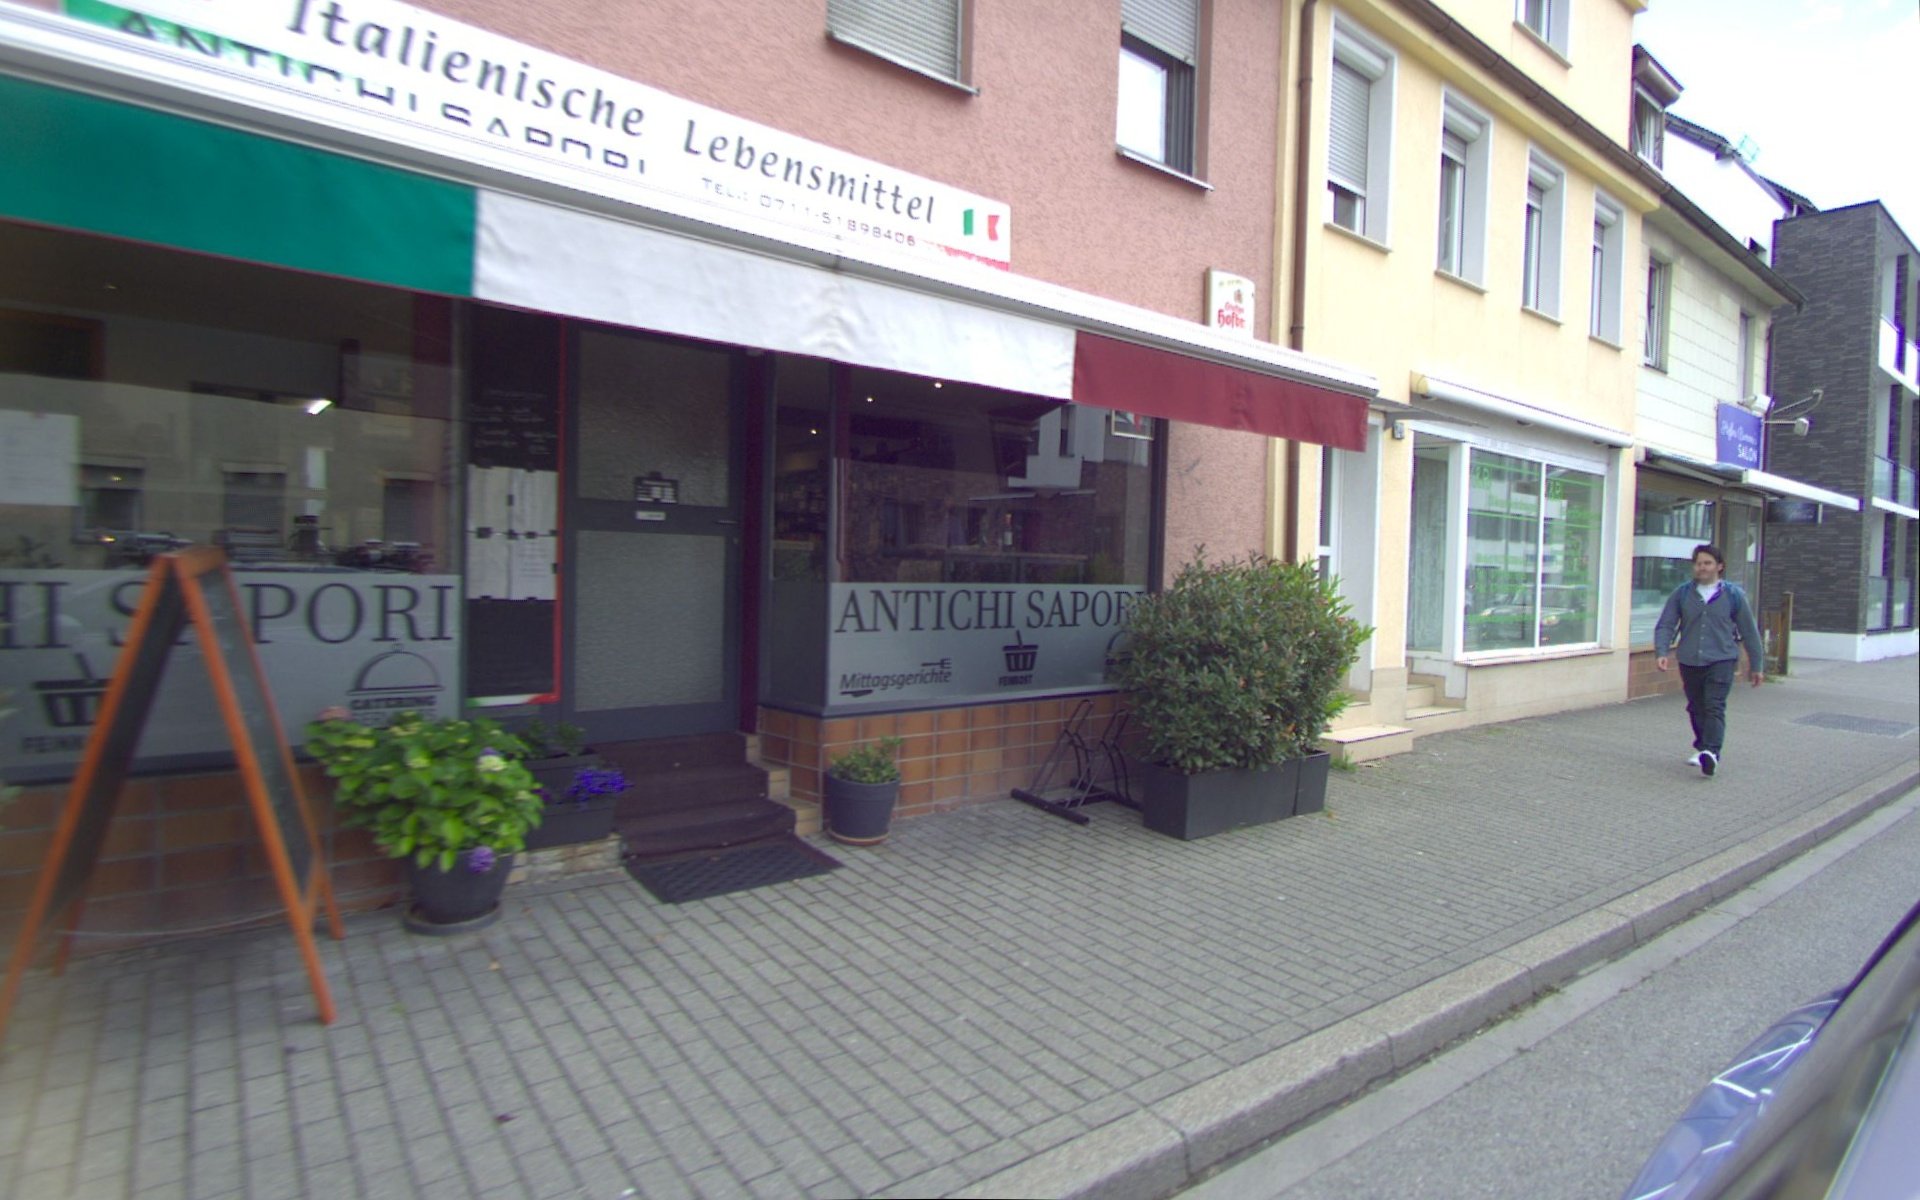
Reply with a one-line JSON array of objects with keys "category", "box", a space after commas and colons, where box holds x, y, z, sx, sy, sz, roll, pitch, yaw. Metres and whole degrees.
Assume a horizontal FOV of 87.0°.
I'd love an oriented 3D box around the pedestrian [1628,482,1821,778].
[{"category": "pedestrian", "box": [5.876, 0.179, 7.784, 0.992, 2.099, 0.826, 0, 4, -38]}]
